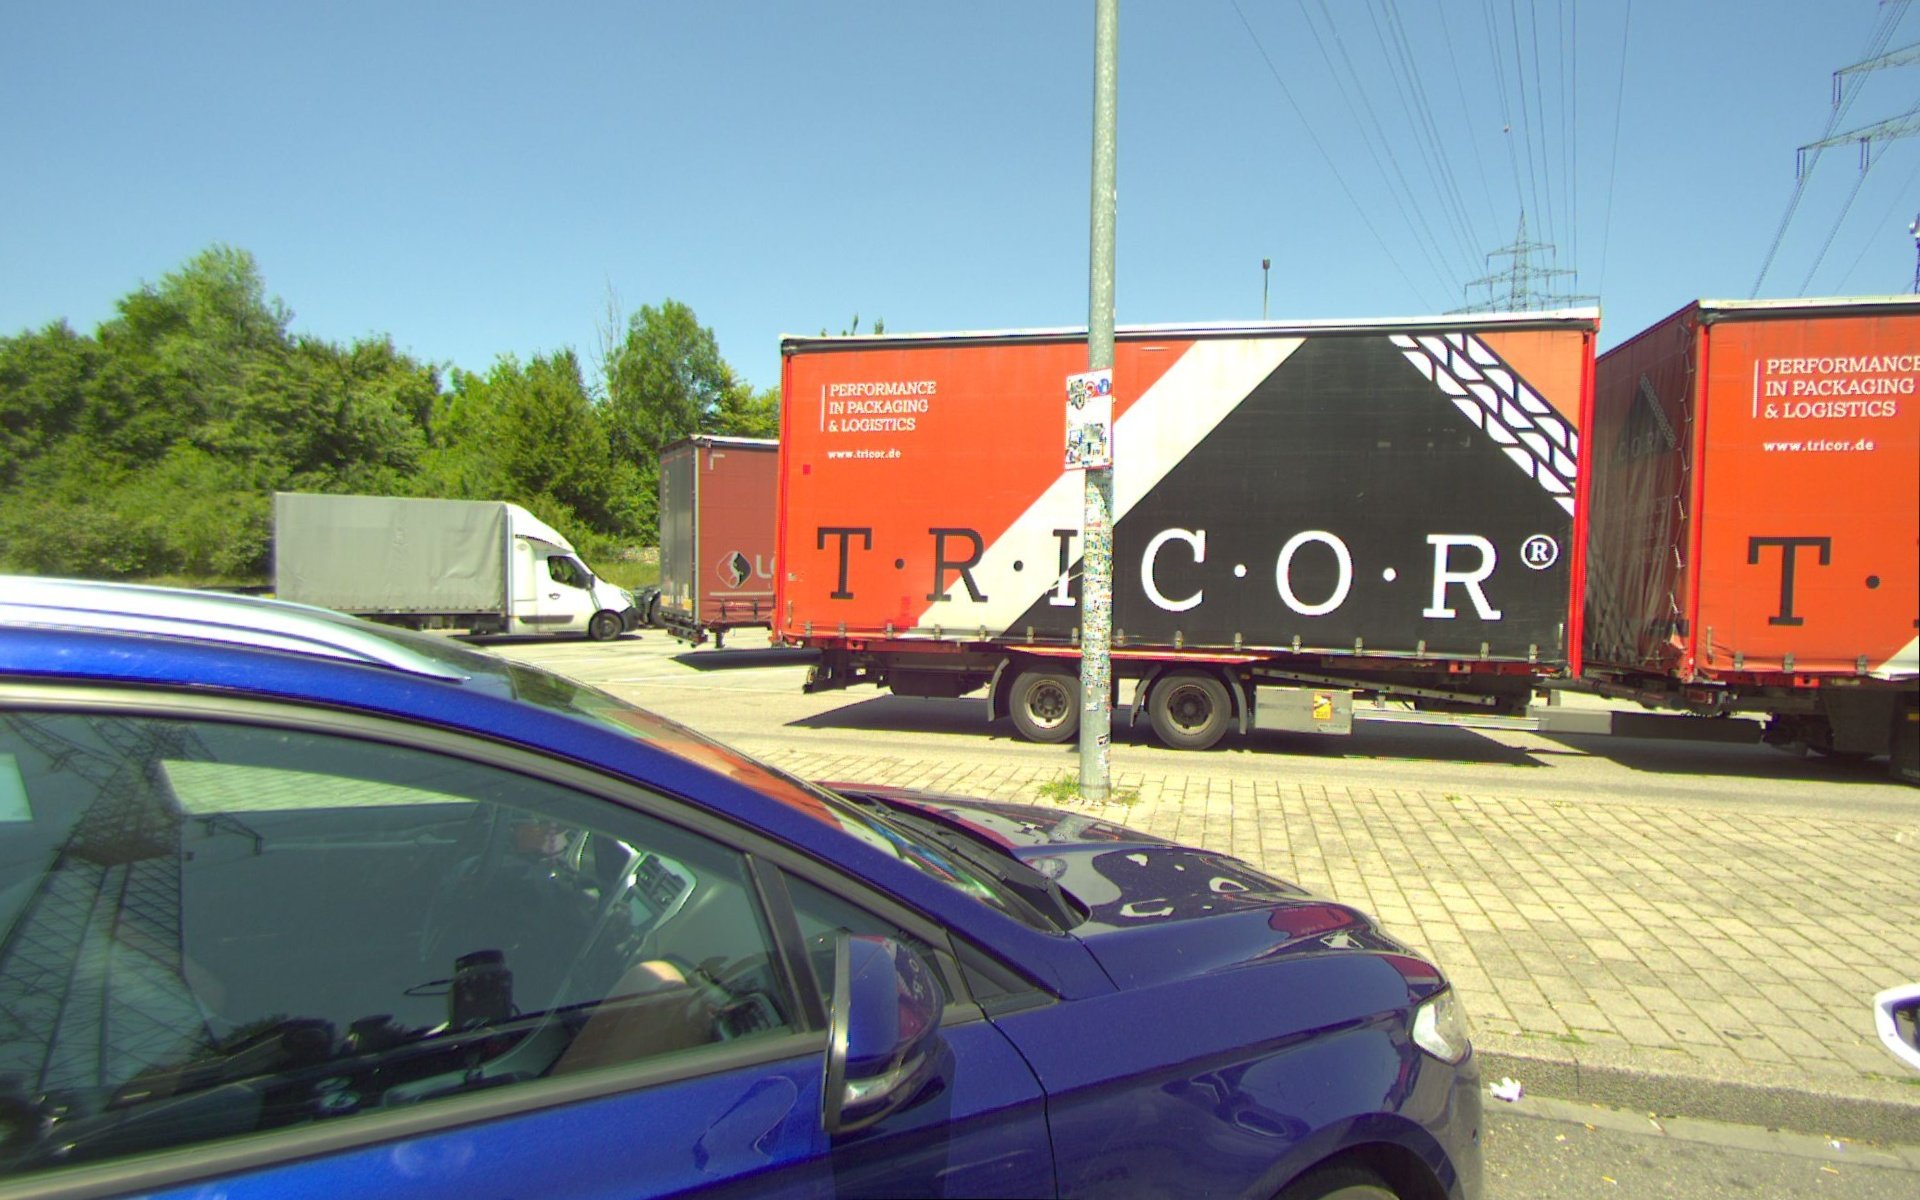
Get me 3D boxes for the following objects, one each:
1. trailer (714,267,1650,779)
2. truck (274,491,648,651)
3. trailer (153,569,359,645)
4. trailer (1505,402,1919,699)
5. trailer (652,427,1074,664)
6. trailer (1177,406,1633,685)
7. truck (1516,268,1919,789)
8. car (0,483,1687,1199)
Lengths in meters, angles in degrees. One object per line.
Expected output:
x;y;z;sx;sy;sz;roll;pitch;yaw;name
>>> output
1.946;-0.695;10.800;8.509;4.315;2.844;1;0;13;trailer
-11.050;-0.598;22.810;7.265;3.170;2.352;0;1;-30;truck
-16.499;0.154;23.782;3.856;1.684;1.464;0;1;-30;trailer
15.193;-0.669;18.431;13.129;4.112;2.736;0;1;-31;trailer
-1.779;-0.913;20.304;8.158;4.027;2.651;0;1;-30;trailer
8.724;-0.827;19.101;9.614;4.321;2.733;0;1;-29;trailer
10.983;-0.541;8.715;10.390;4.183;2.695;1;0;13;truck
-0.997;0.652;1.458;4.419;1.485;1.765;0;1;-32;car
